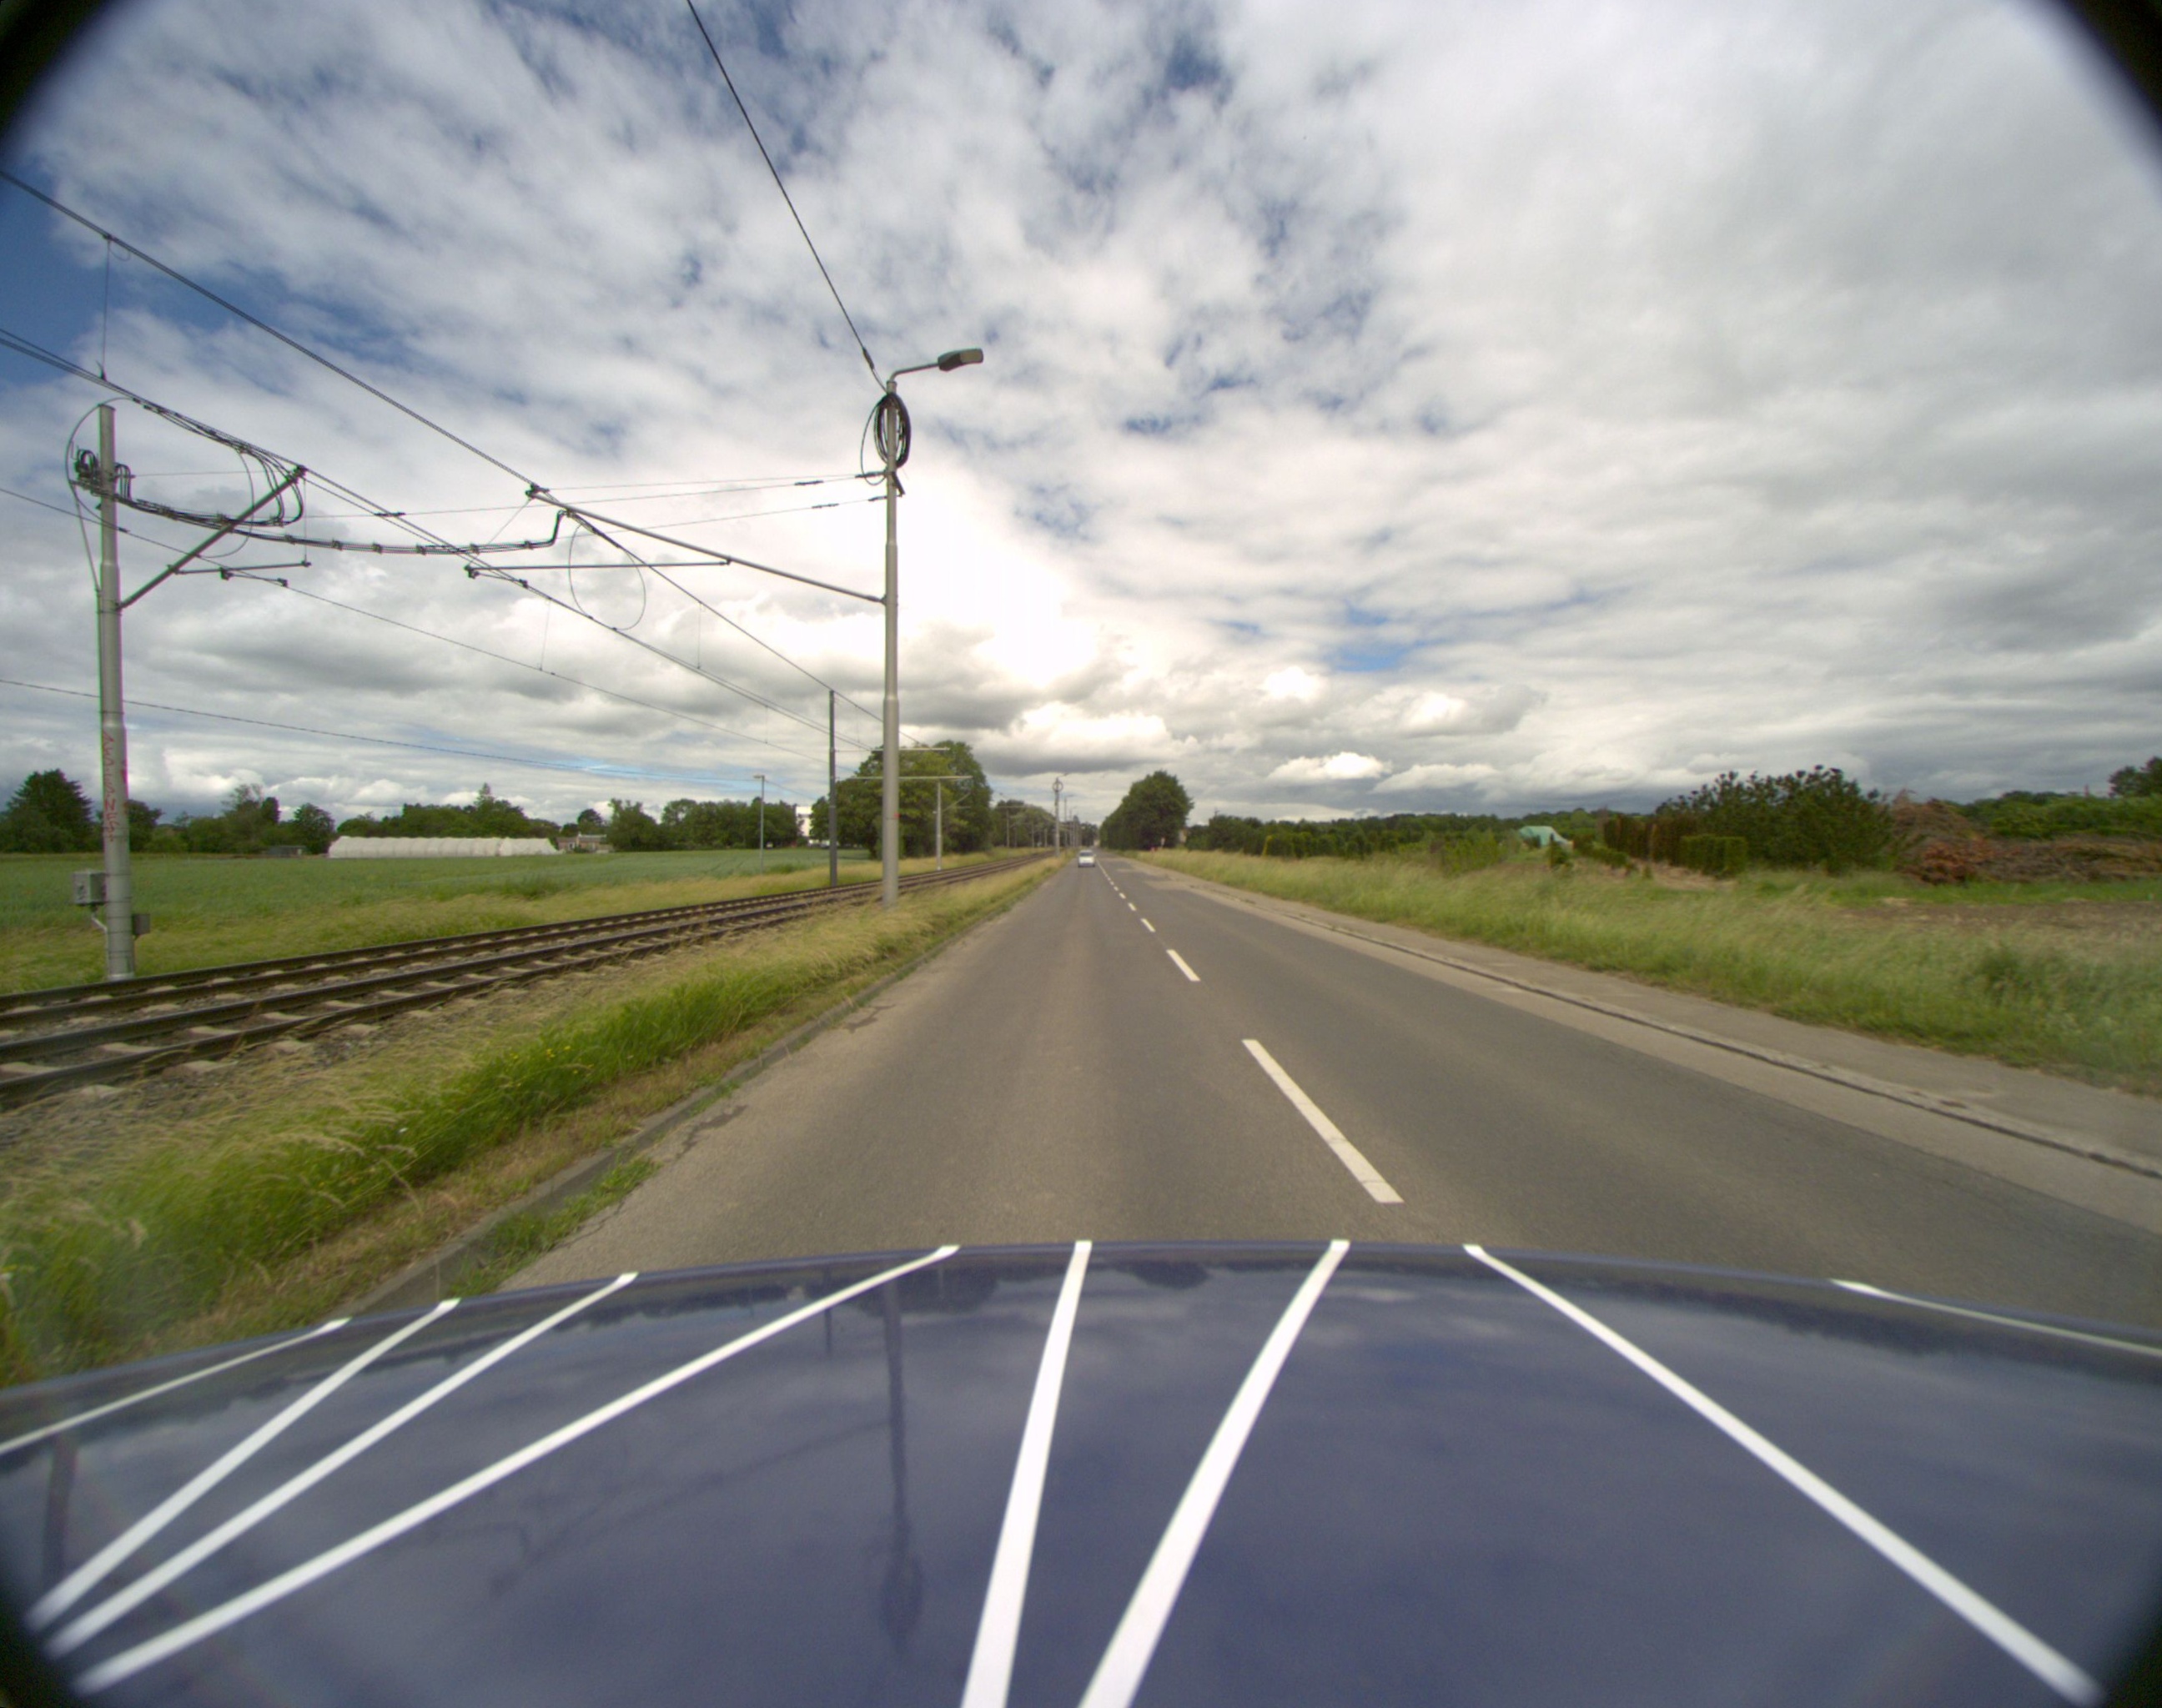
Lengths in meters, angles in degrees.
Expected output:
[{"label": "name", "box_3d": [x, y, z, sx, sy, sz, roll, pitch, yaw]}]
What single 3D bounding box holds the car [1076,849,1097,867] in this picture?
[{"label": "car", "box_3d": [0.540, 0.395, 75.142, 1.999, 1.679, 3.999, -1, 0, -1]}]
